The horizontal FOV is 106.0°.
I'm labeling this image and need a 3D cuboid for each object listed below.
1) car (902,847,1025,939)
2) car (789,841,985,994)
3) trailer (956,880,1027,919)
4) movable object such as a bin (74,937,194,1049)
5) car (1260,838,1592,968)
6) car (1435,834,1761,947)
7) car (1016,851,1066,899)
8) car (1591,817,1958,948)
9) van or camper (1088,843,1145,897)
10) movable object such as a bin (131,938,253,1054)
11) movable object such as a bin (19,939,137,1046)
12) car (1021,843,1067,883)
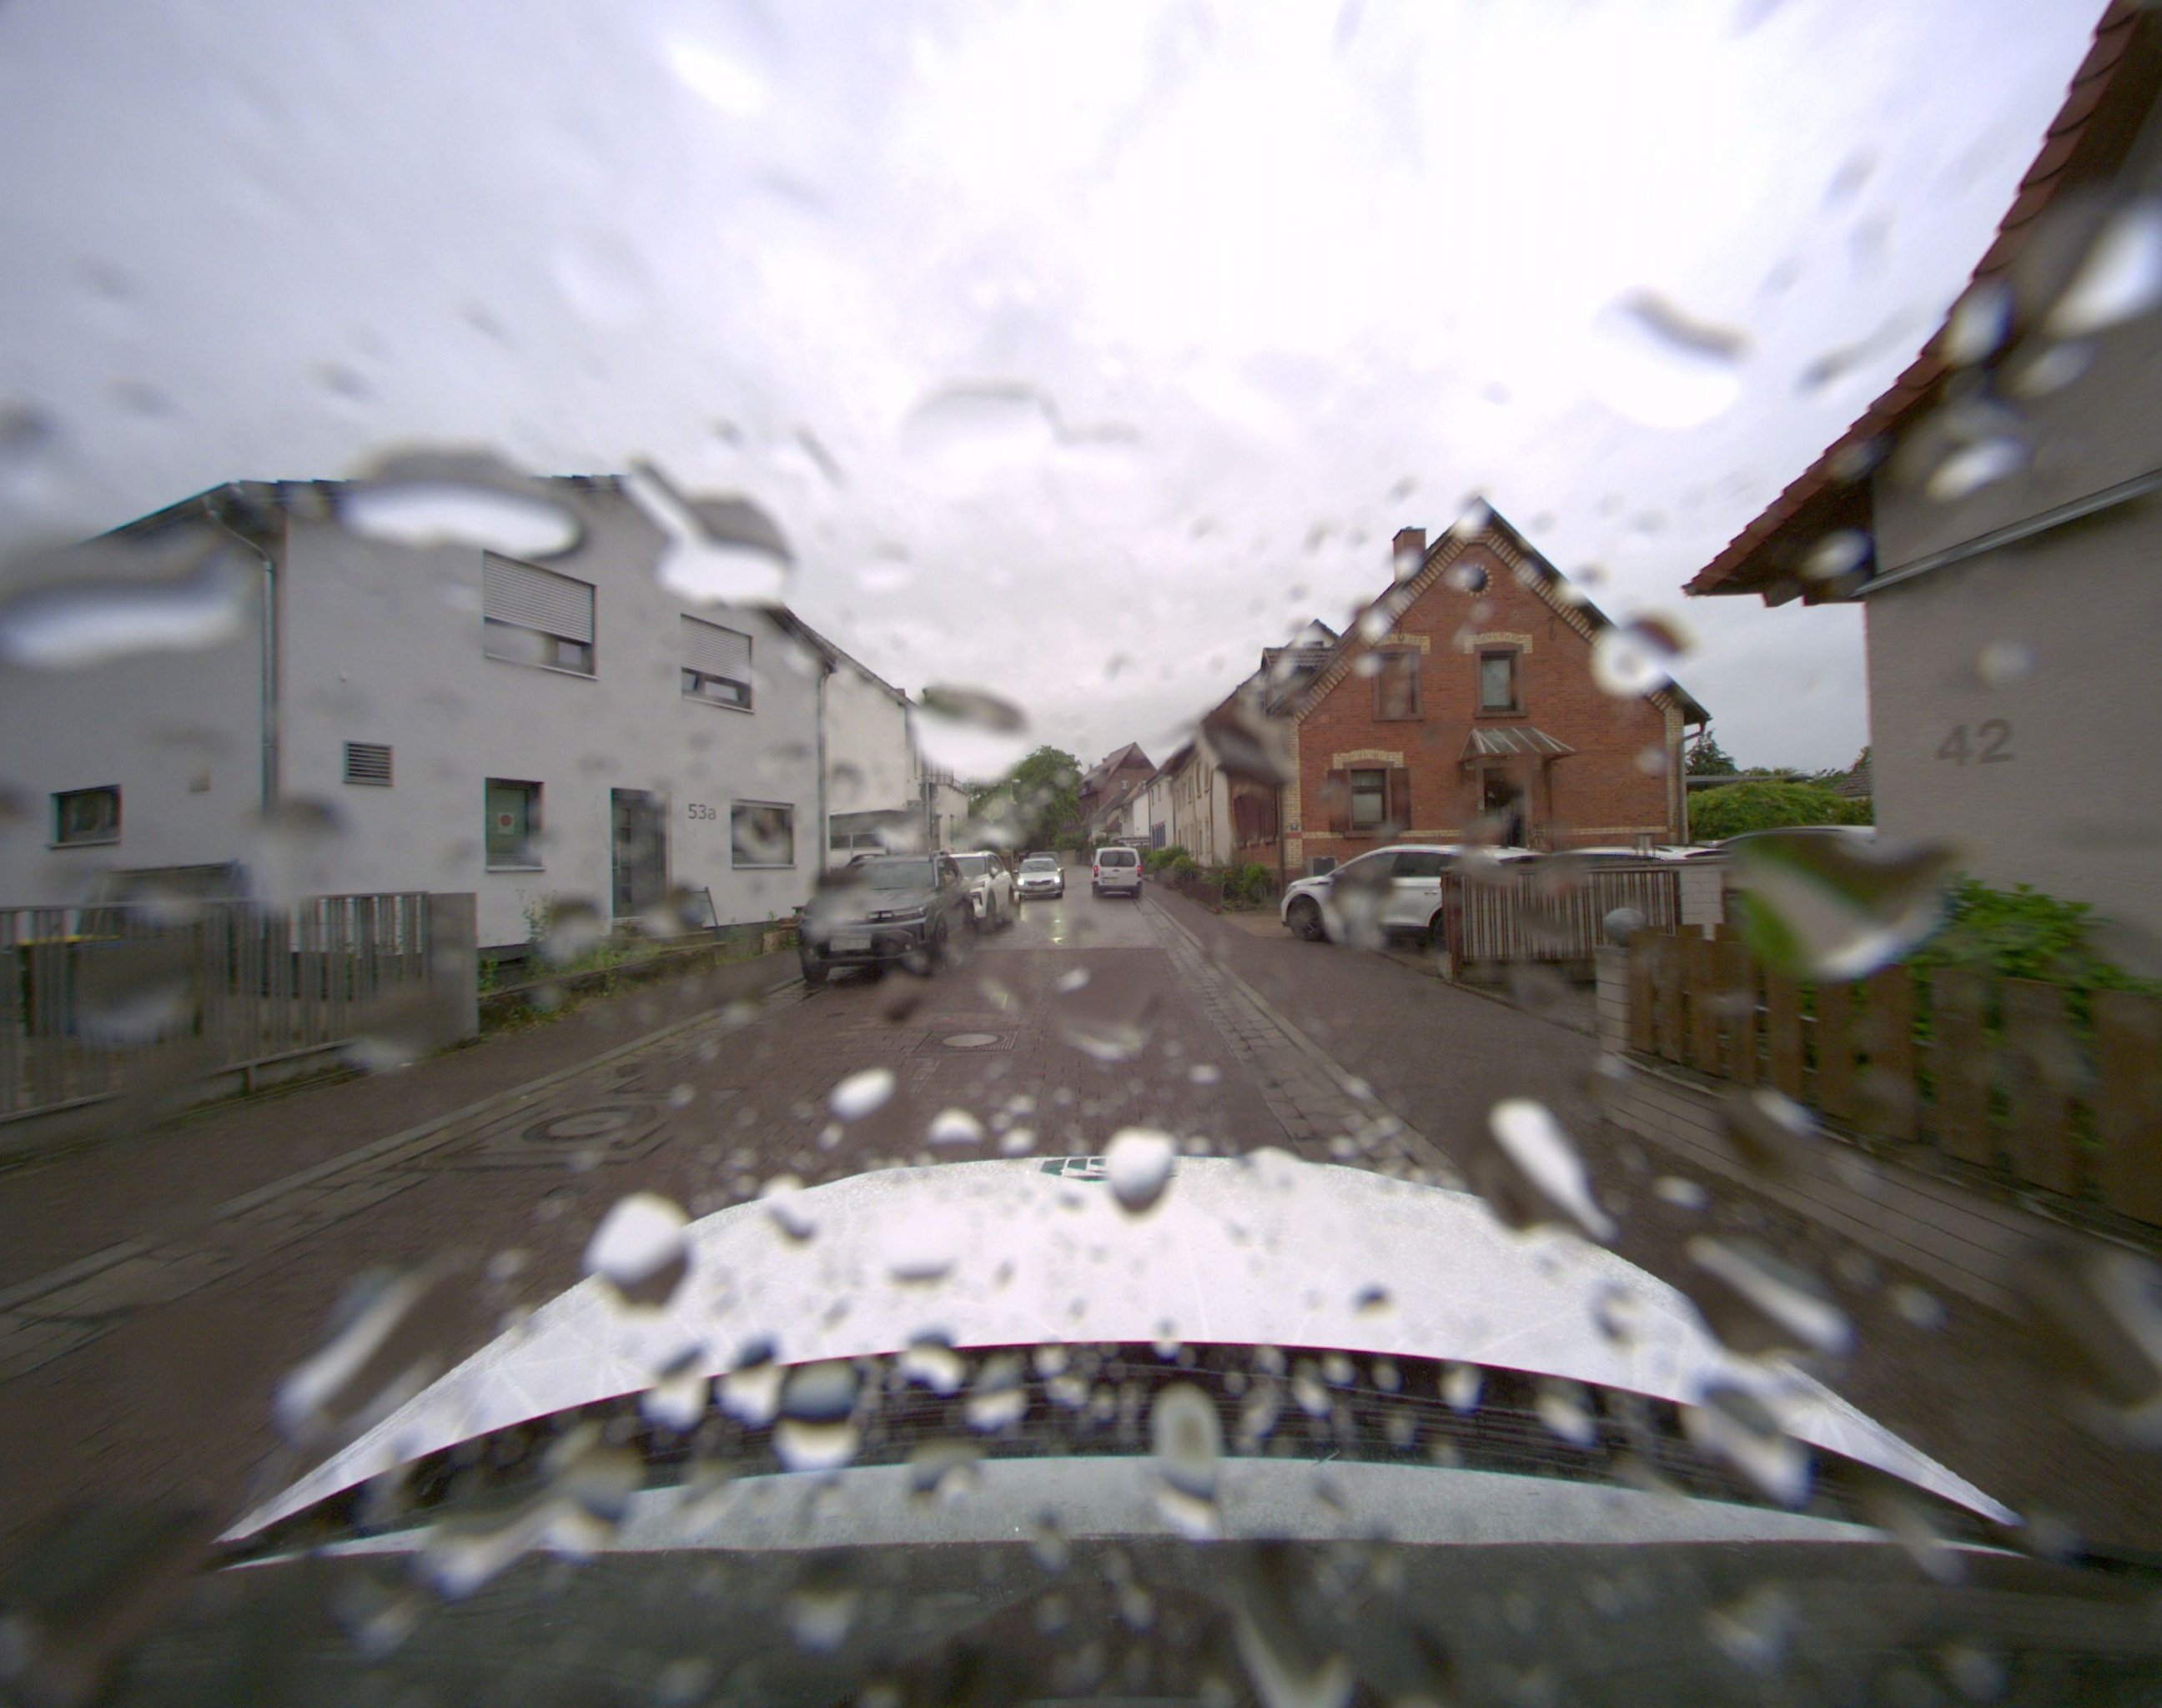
[{"bbox_3d":[-2.425,0.772,17.944,1.741,1.636,4.422,-5,-1,3],"label":"car"},{"bbox_3d":[-2.594,0.736,11.902,1.806,1.779,4.017,-3,1,0],"label":"car"},{"bbox_3d":[-2.314,1.177,21.580,1.478,0.829,2.676,-4,-1,1],"label":"trailer"},{"bbox_3d":[-10.163,1.463,8.752,0.606,1.055,0.679,-1,0,24],"label":"movable object such as a bin"},{"bbox_3d":[5.109,0.576,12.766,1.883,1.590,4.574,-1,2,-31],"label":"car"},{"bbox_3d":[8.340,0.485,13.611,1.880,1.516,4.258,-3,1,-24],"label":"car"},{"bbox_3d":[-1.517,0.765,30.379,1.685,1.565,3.929,-3,-1,-3],"label":"car"},{"bbox_3d":[11.005,0.363,13.346,1.811,1.675,4.191,-5,2,-21],"label":"car"},{"bbox_3d":[1.292,0.538,30.454,1.936,1.851,4.002,-2,0,1],"label":"van or camper"},{"bbox_3d":[-9.202,1.442,8.442,0.606,1.055,0.679,-1,0,24],"label":"movable object such as a bin"},{"bbox_3d":[-11.260,1.529,9.155,0.606,1.055,0.679,-1,0,24],"label":"movable object such as a bin"},{"bbox_3d":[-1.717,0.371,38.655,1.988,1.677,4.779,-3,1,-2],"label":"car"}]
